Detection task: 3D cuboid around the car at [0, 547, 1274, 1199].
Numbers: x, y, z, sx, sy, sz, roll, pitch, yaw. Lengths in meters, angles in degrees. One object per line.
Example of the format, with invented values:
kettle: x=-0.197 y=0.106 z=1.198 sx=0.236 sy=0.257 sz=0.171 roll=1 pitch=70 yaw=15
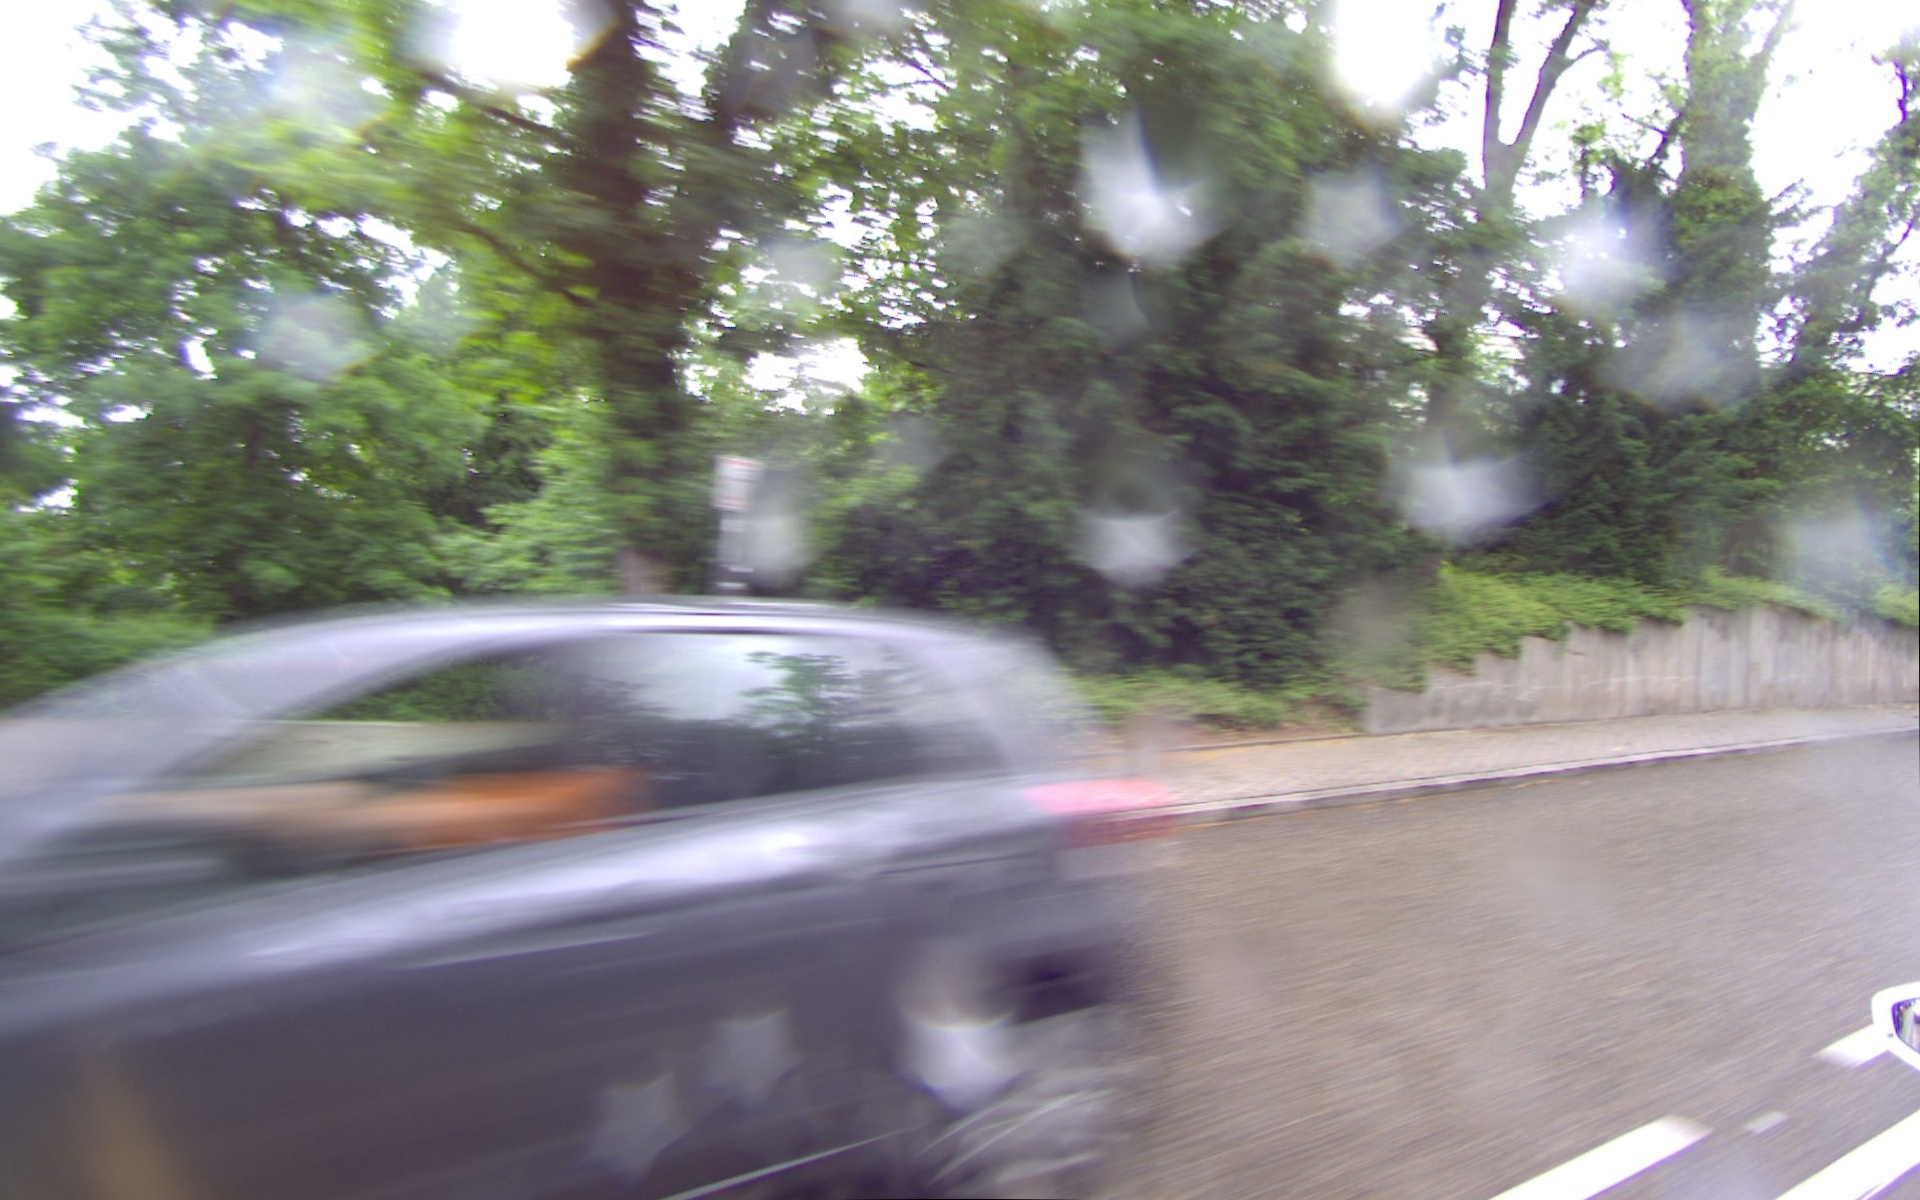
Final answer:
car: x=-1.016 y=0.716 z=2.609 sx=3.420 sy=1.516 sz=1.667 roll=2 pitch=-1 yaw=-31
